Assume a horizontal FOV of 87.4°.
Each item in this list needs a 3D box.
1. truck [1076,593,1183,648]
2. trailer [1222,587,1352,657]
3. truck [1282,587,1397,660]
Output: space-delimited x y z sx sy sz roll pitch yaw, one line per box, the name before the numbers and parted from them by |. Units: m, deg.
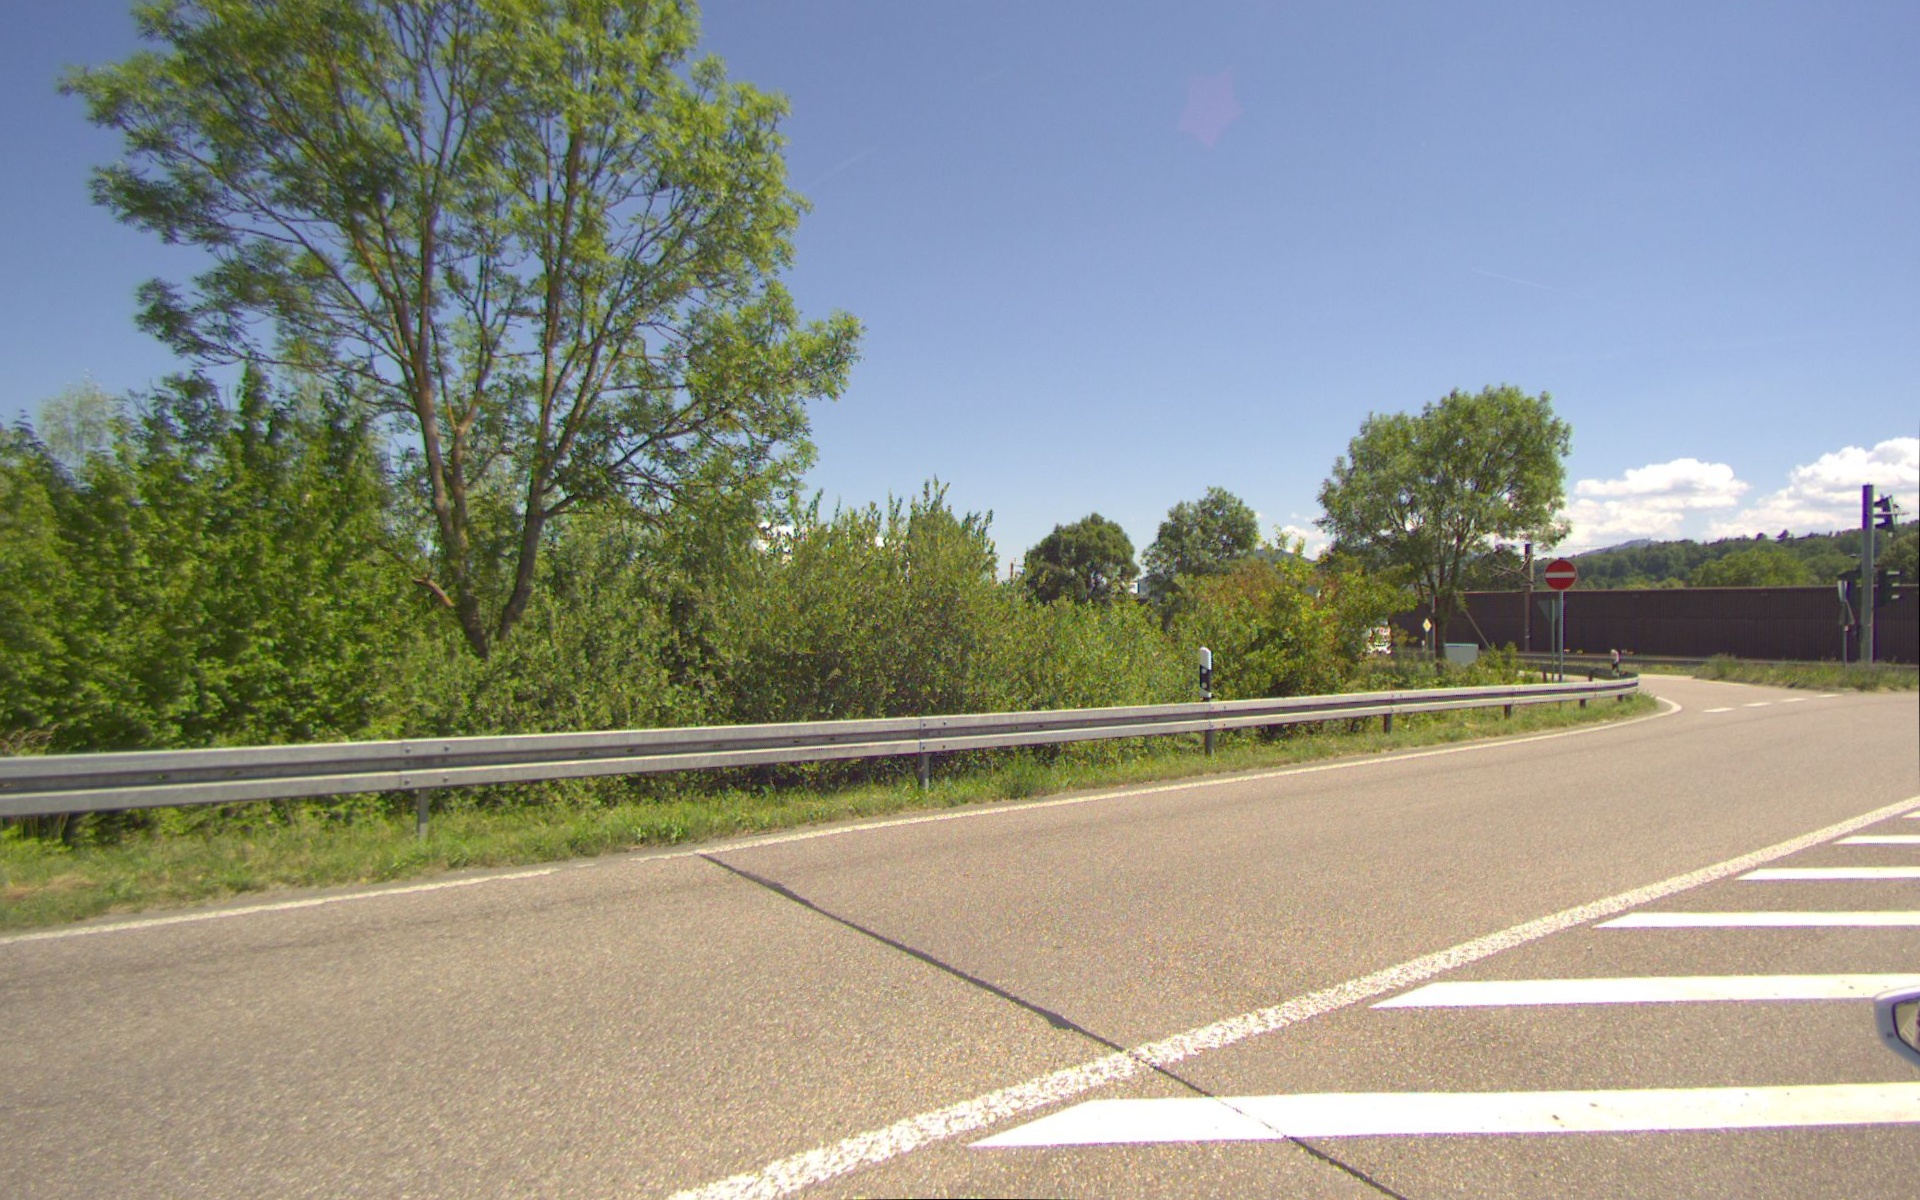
truck | 11.414 1.334 68.746 2.100 3.515 9.029 2 -1 -28
trailer | 18.249 1.210 56.476 2.496 3.694 6.851 2 -1 -34
truck | 20.148 1.208 53.569 2.496 3.694 5.228 2 -1 -34
